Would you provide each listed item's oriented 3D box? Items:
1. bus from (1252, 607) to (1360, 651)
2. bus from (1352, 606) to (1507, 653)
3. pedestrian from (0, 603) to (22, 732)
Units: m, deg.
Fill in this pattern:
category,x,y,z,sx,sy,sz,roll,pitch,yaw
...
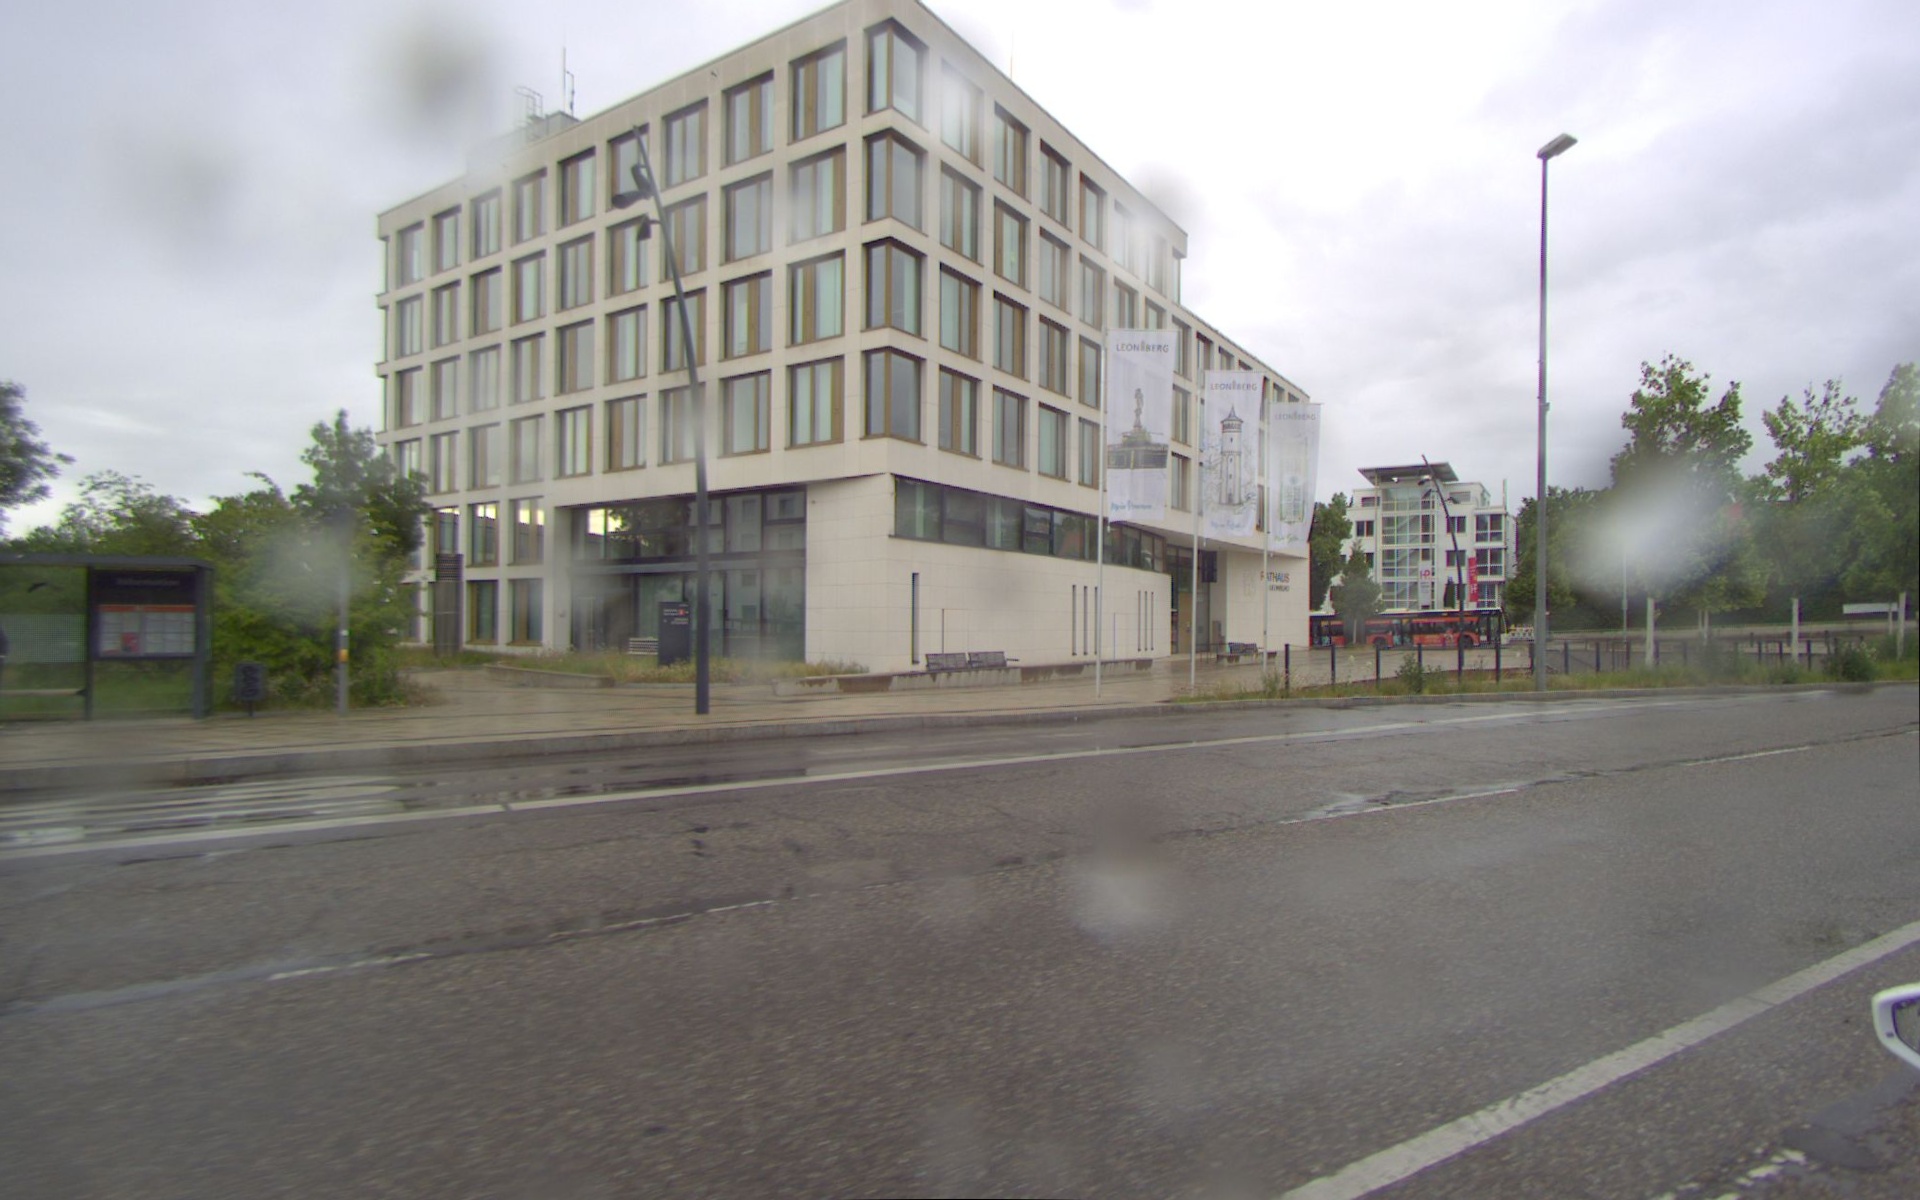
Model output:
category,x,y,z,sx,sy,sz,roll,pitch,yaw
bus,27.453,2.276,79.925,7.709,3.323,2.735,0,-3,34
bus,34.834,2.175,74.752,10.231,3.323,2.856,0,-3,33
pedestrian,-13.553,0.922,13.923,0.774,1.768,0.670,-1,-3,43
